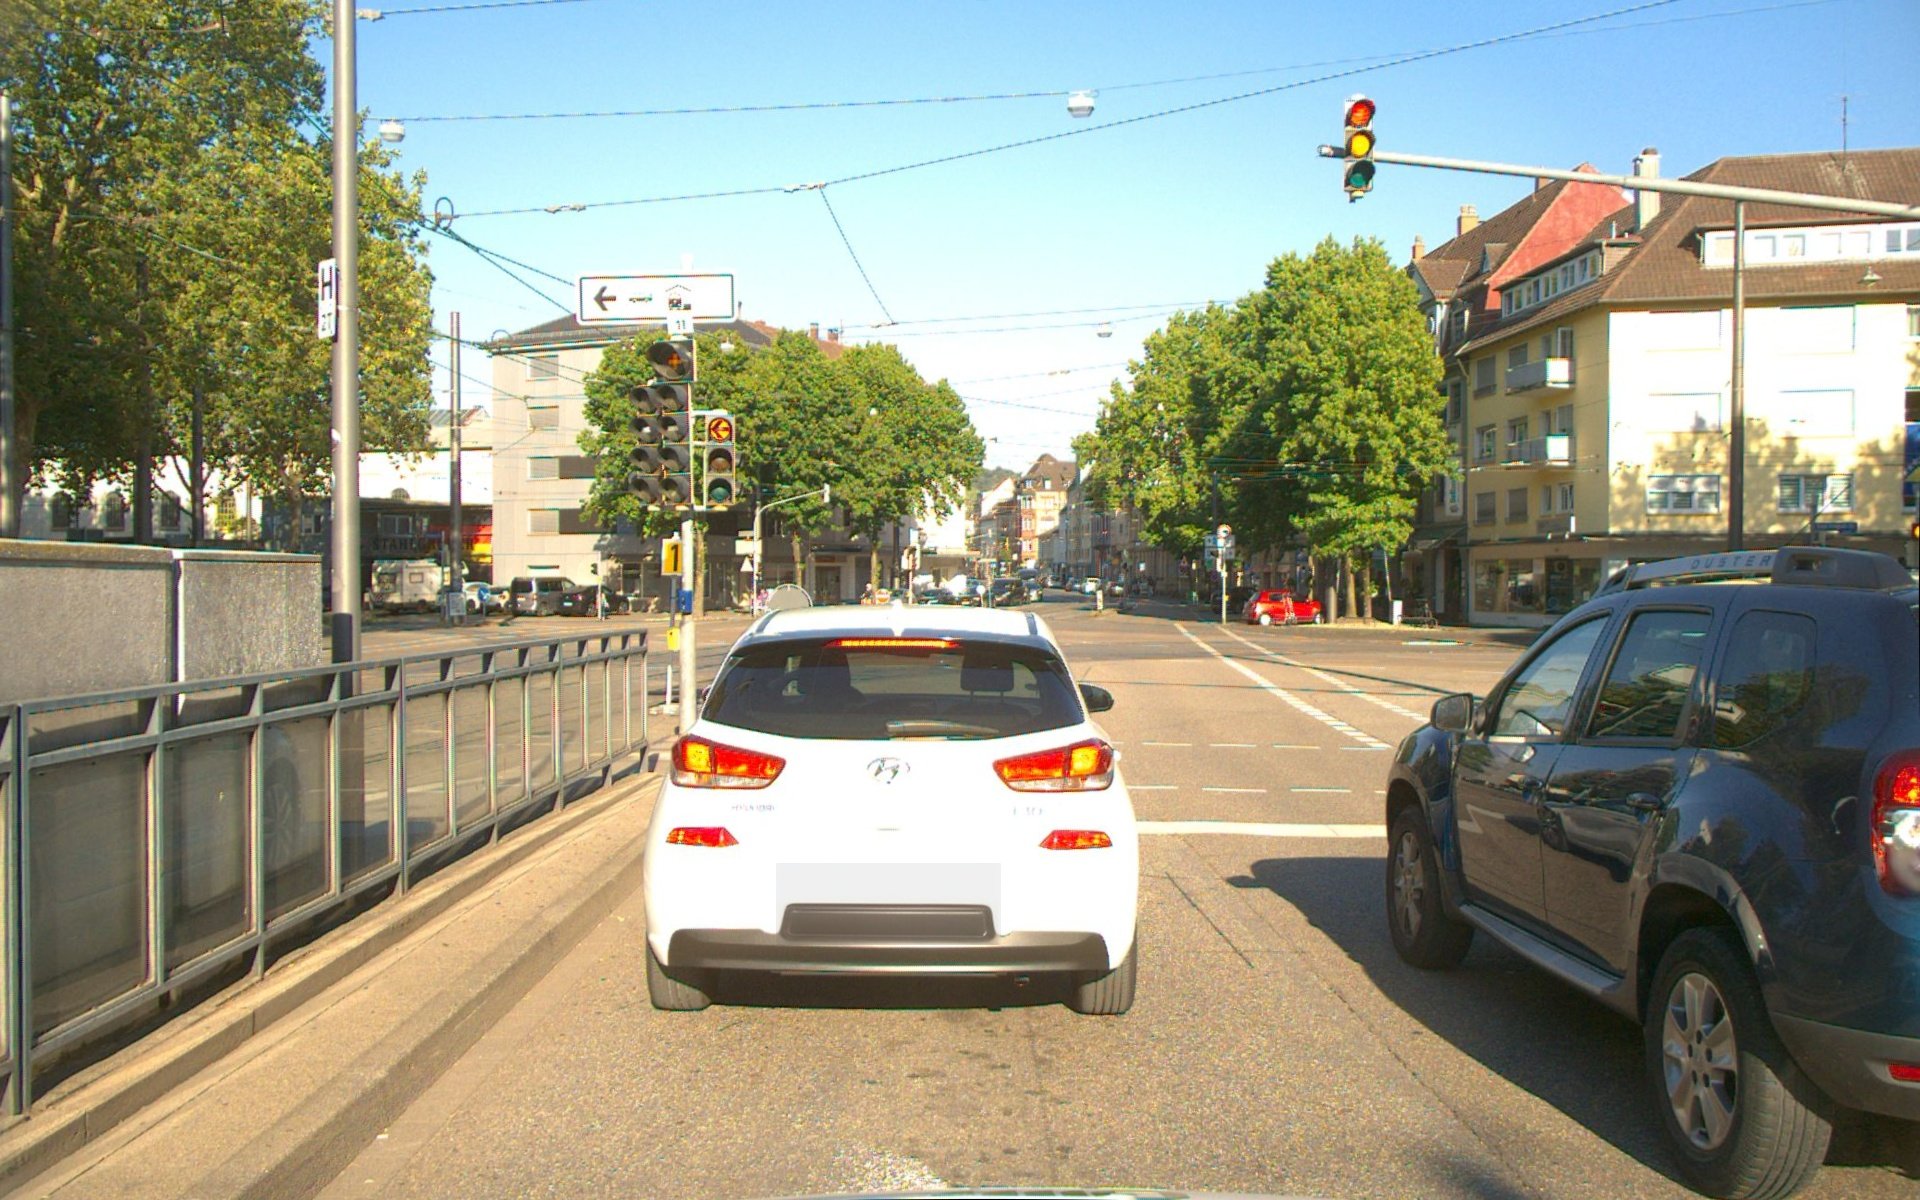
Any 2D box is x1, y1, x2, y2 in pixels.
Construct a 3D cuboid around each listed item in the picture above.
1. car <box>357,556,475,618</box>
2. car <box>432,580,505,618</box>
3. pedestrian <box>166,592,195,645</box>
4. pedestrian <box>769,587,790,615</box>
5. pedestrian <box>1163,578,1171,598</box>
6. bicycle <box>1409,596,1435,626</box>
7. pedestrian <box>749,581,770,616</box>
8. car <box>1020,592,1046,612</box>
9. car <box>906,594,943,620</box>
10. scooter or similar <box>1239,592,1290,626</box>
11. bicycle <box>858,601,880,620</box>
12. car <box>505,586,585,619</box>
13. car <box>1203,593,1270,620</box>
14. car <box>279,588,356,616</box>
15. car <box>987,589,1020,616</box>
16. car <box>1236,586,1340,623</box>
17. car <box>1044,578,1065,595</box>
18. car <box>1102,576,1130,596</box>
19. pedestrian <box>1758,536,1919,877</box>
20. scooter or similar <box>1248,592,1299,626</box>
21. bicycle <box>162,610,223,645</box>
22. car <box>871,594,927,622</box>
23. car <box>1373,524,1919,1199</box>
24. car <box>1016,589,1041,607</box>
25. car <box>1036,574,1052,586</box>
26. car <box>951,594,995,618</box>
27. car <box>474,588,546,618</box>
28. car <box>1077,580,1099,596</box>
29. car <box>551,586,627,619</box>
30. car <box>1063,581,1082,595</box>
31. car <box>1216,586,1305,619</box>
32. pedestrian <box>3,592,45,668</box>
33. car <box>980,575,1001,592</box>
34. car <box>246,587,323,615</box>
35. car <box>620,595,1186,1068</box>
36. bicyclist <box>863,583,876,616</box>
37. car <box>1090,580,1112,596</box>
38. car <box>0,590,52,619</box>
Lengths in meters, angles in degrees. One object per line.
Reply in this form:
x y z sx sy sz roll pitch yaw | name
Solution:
-29.304 -0.680 89.361 2.445 3.220 6.534 0 0 22 | car
-26.227 -0.048 88.402 1.756 1.990 4.002 0 0 18 | car
-25.230 0.602 53.550 0.634 1.690 0.650 0 0 2 | pedestrian
-9.712 0.042 88.789 0.786 1.510 0.861 0 0 25 | pedestrian
17.938 -1.030 143.487 0.634 1.680 0.651 1 -1 10 | pedestrian
17.596 0.414 62.976 0.596 1.127 1.801 0 0 4 | bicycle
-10.521 -0.069 86.866 0.820 1.802 0.782 0 0 25 | pedestrian
5.725 0.143 130.130 1.758 1.537 3.999 0 0 -2 | car
-2.138 0.436 99.924 1.756 1.537 4.003 0 0 6 | car
11.681 0.332 63.452 1.915 1.303 0.550 0 0 41 | scooter or similar
-4.916 0.572 89.526 0.458 0.973 1.767 0 0 22 | bicycle
-21.429 0.119 85.544 1.760 1.677 4.004 0 0 28 | car
15.743 0.359 94.085 3.967 1.537 1.772 0 0 -43 | car
-35.997 0.093 92.741 1.758 1.537 3.999 0 0 23 | car
3.057 0.140 115.481 1.756 1.858 4.004 0 0 10 | car
13.740 0.170 69.283 3.913 1.537 1.796 0 0 -9 | car
11.873 -1.701 208.785 2.280 2.049 4.975 0 0 -1 | car
14.291 -1.252 151.940 2.062 1.807 4.340 0 0 -1 | car
5.108 0.594 9.571 0.643 1.904 0.677 0 0 -1 | pedestrian
12.131 0.346 64.008 1.915 1.303 0.550 0 0 41 | scooter or similar
-25.073 0.880 54.031 1.757 1.127 0.500 0 0 2 | bicycle
-3.449 0.439 93.916 1.689 1.537 3.874 0 0 24 | car
2.781 0.674 5.420 1.763 1.666 4.044 0 0 -1 | car
5.691 -0.179 138.116 1.758 1.537 3.999 0 0 -2 | car
10.884 -2.583 214.240 1.758 1.537 3.999 0 0 -1 | car
0.894 0.378 108.021 1.756 1.537 4.002 0 0 18 | car
-23.768 0.152 87.532 1.756 1.537 4.012 0 0 18 | car
12.736 -1.193 164.538 1.758 1.537 3.999 0 0 -1 | car
-19.016 0.117 84.866 1.881 1.677 4.181 0 0 20 | car
12.447 -1.311 183.772 1.758 1.549 3.999 0 0 -1 | car
14.482 0.113 79.859 3.910 1.537 1.798 0 0 -7 | car
-19.830 0.628 35.045 0.524 1.579 0.677 0 0 -1 | pedestrian
2.792 -1.544 153.007 1.758 1.537 3.999 0 0 -2 | car
-38.370 0.062 94.078 1.758 1.537 3.999 0 0 23 | car
-0.215 0.729 7.235 1.771 1.478 3.999 1 0 -1 | car
-4.894 -0.025 89.575 0.458 1.776 0.717 0 0 22 | bicyclist
13.471 -1.140 158.386 1.758 1.537 3.999 0 0 -1 | car
-51.742 0.247 90.212 3.904 1.537 1.800 0 0 20 | car
